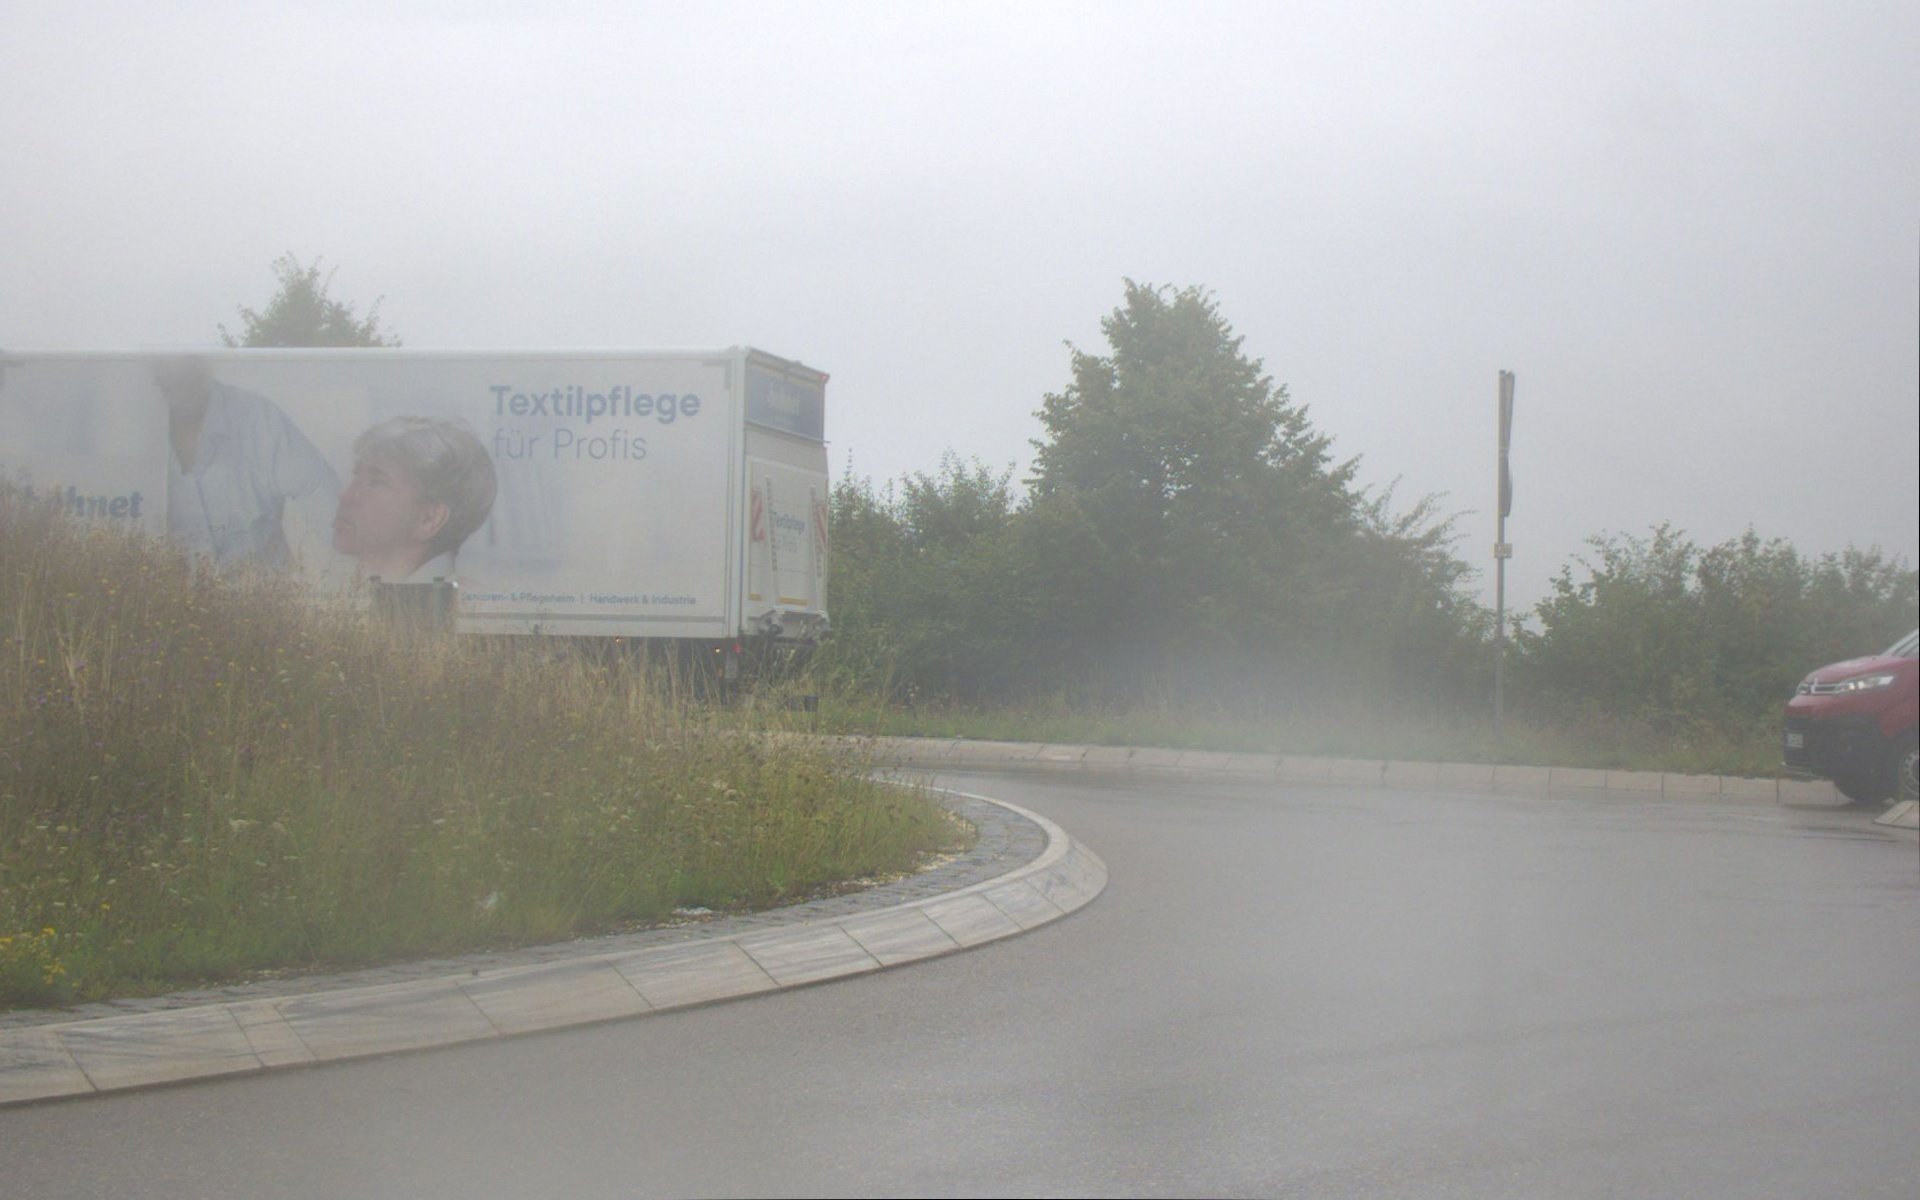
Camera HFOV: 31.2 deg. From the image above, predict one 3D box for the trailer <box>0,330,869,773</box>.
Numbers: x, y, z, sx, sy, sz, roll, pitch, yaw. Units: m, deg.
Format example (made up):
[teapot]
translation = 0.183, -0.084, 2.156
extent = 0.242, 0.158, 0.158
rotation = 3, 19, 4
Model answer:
[trailer]
translation = -5.923, -0.475, 31.983
extent = 9.688, 3.806, 2.839
rotation = 1, -1, 13

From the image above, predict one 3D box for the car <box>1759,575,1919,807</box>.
[car]
translation = 9.506, 0.809, 29.061
extent = 4.961, 1.864, 2.000
rotation = 2, 0, -2
